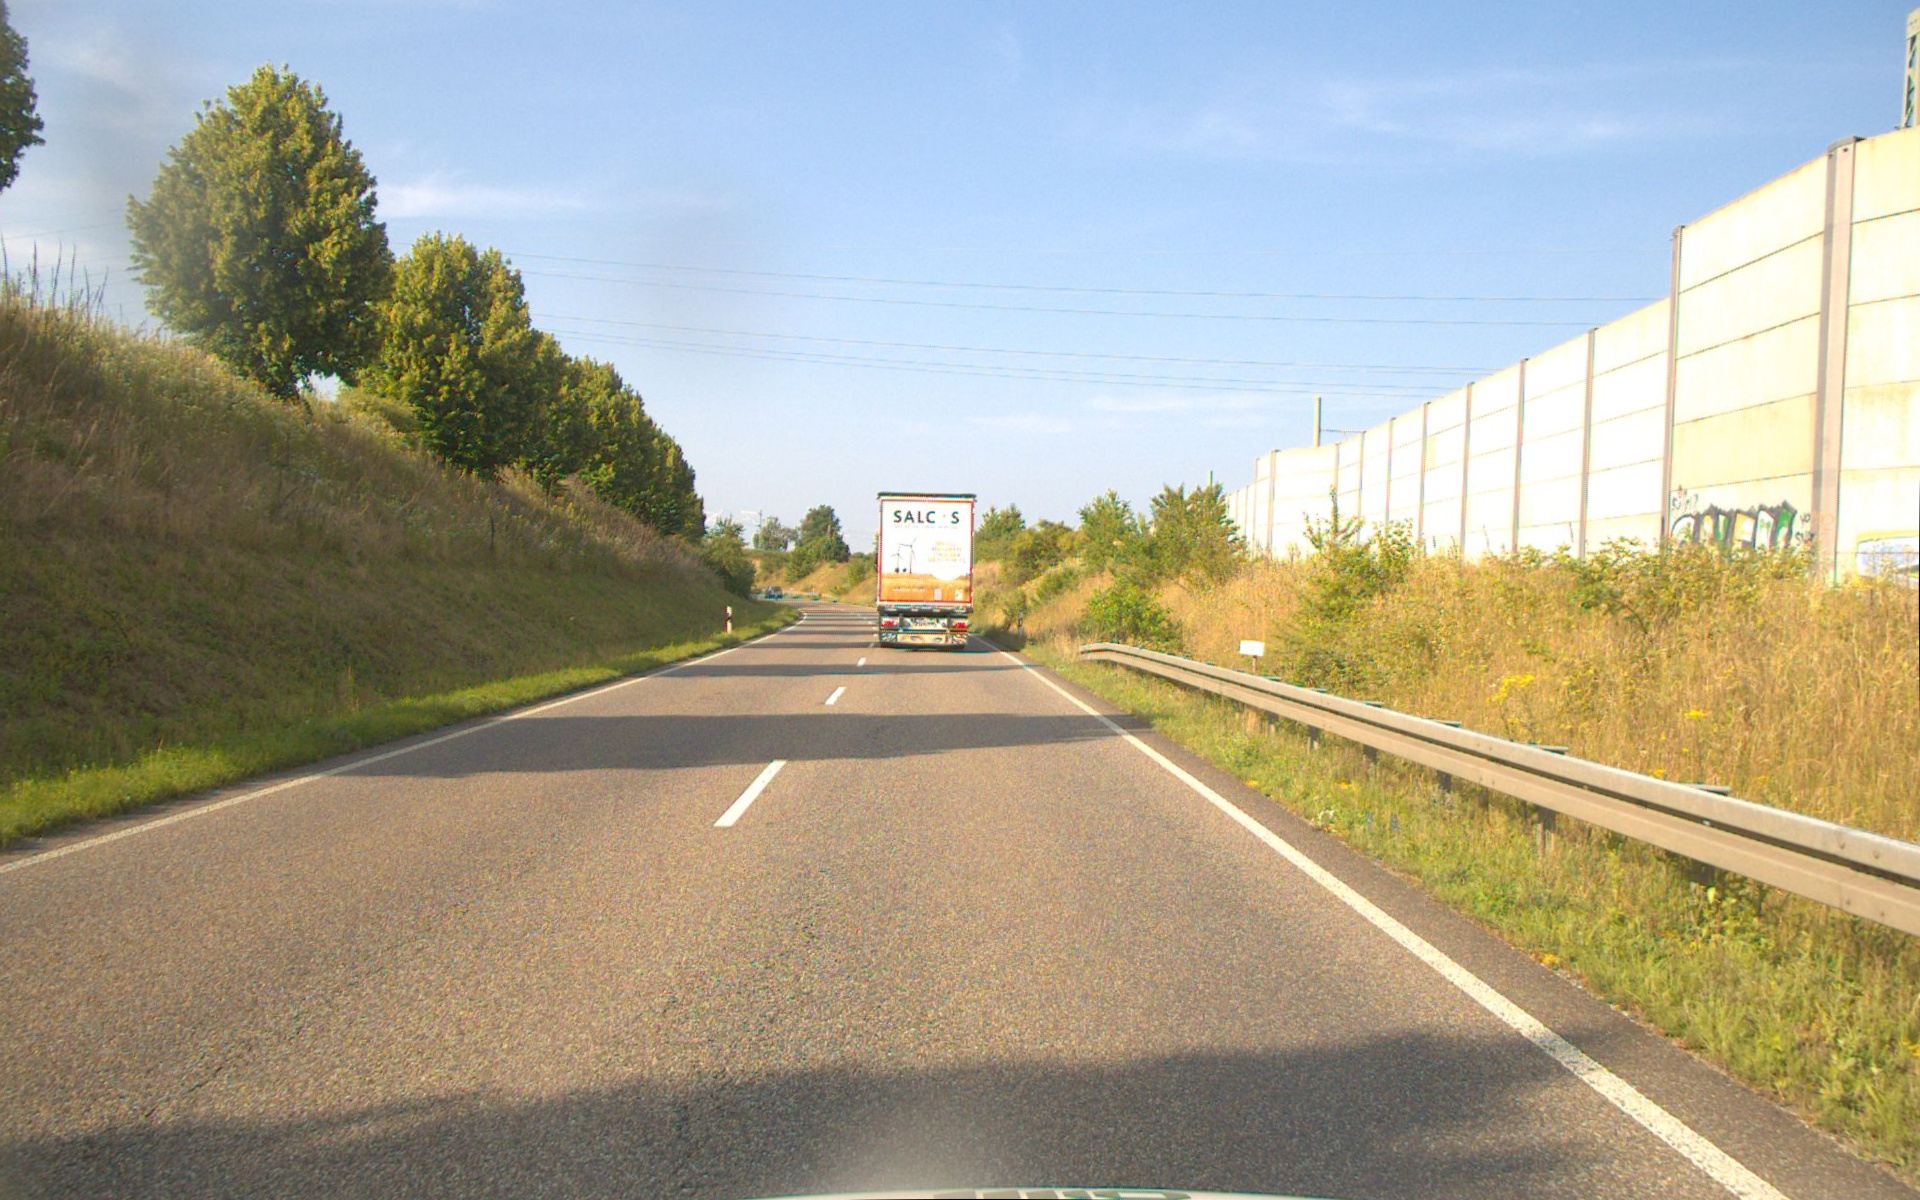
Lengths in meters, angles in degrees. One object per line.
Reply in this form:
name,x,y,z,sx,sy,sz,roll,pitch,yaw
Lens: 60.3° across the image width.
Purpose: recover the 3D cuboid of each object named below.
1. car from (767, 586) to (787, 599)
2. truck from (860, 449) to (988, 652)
car,-23.106,-0.937,208.558,2.004,1.609,4.359,1,0,0
truck,-1.133,-1.373,48.843,3.224,5.178,12.033,1,1,-2
